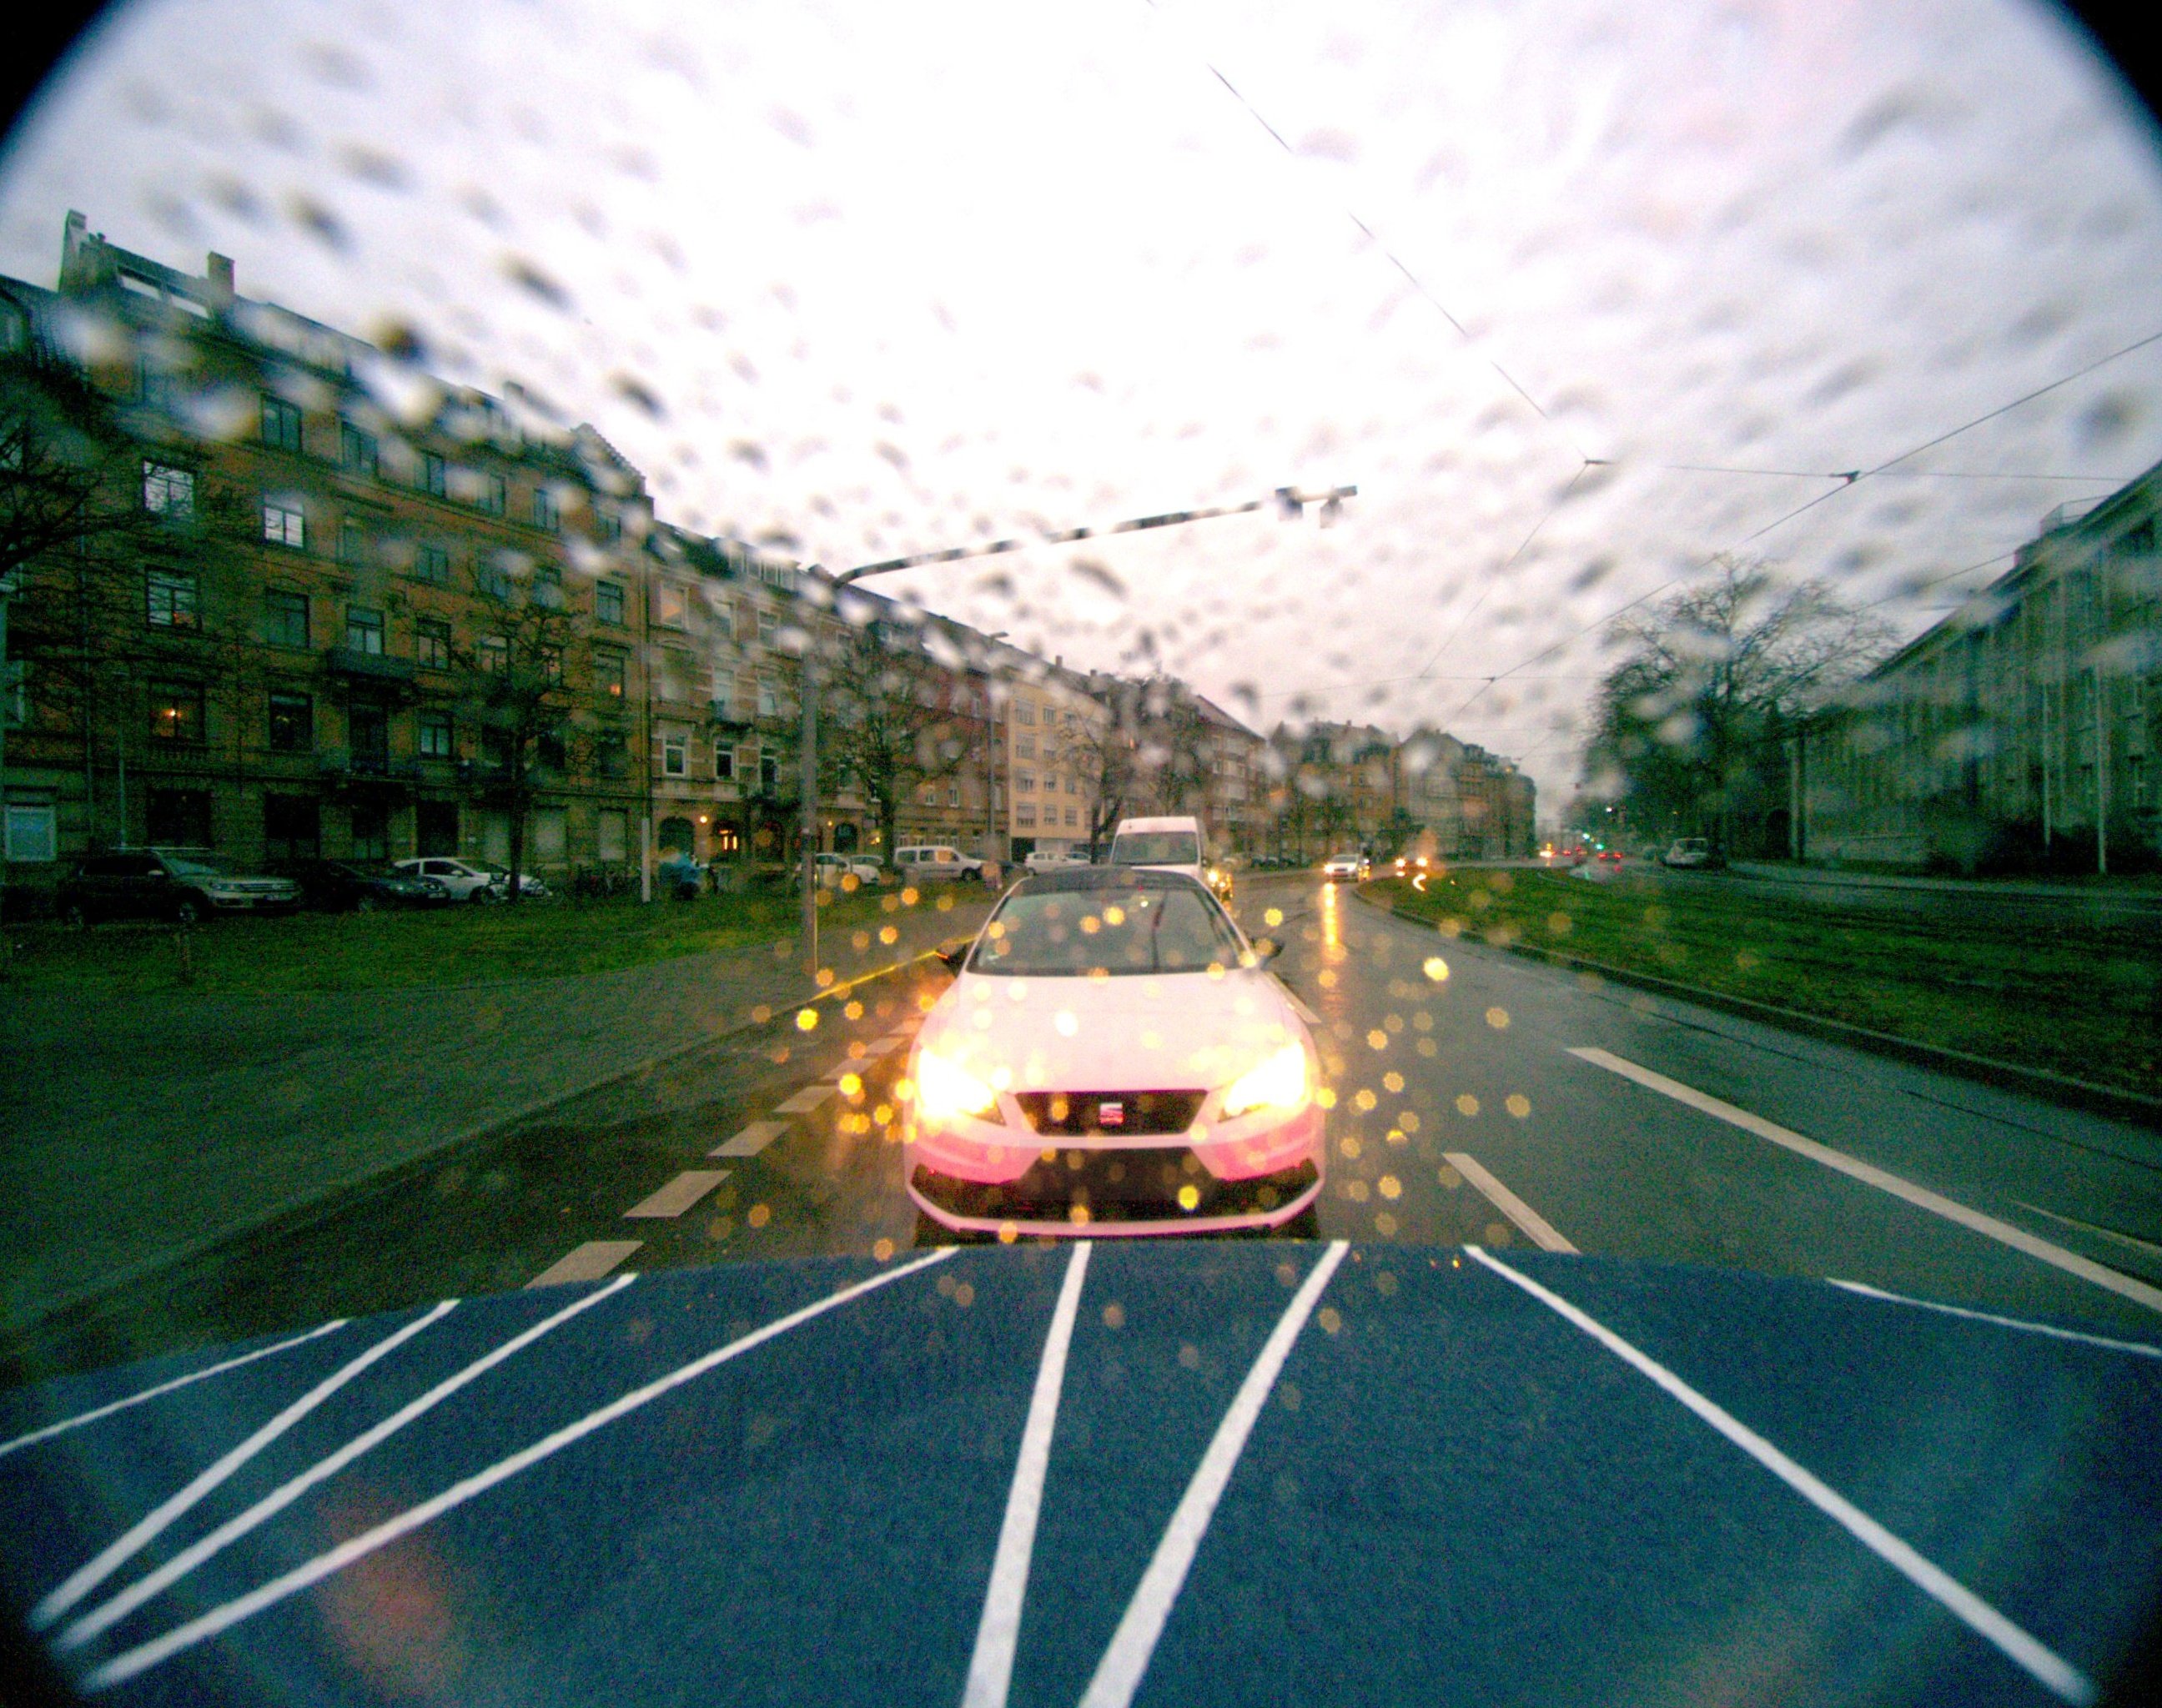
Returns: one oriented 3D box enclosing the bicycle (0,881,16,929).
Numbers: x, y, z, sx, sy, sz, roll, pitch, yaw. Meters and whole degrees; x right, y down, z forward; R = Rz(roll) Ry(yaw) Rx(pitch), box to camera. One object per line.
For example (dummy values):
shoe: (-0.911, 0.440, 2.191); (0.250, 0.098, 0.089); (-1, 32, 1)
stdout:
bicycle: (-22.185, 0.997, 15.109); (1.792, 0.926, 0.446); (1, 1, 10)

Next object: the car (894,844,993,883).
car: (-6.531, 0.442, 36.460); (4.341, 1.757, 1.782); (-1, 0, 4)

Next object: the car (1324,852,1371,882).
car: (14.023, 0.673, 39.837); (1.686, 1.422, 3.353); (-1, 0, 30)

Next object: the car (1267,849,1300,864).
car: (20.394, 0.215, 76.474); (3.181, 1.474, 1.383); (-1, 0, 14)

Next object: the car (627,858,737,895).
car: (-14.755, 0.834, 28.200); (3.297, 1.298, 1.522); (-1, 0, 5)

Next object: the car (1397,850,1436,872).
car: (24.470, 0.457, 55.304); (1.836, 1.524, 3.824); (-1, 0, 36)

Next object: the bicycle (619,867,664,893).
bicycle: (-15.393, 0.900, 26.605); (1.791, 0.813, 0.395); (1, 1, 25)

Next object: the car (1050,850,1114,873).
car: (0.069, 0.447, 45.885); (3.609, 1.362, 1.619); (-1, 0, 9)

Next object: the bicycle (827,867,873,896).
bicycle: (-7.924, 0.922, 25.984); (1.790, 0.926, 0.447); (2, 1, 33)

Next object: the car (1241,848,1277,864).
car: (16.216, 0.216, 69.129); (3.181, 1.405, 1.383); (-1, 0, 14)

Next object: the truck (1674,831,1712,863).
truck: (40.996, -0.465, 50.965); (1.833, 2.032, 4.008); (0, 0, 37)

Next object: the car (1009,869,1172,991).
car: (0.323, 0.984, 11.289); (1.722, 1.380, 3.825); (-1, 0, 11)

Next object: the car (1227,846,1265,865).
car: (14.507, 0.090, 66.693); (3.181, 1.615, 1.447); (-1, 0, 13)

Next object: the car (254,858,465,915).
car: (-17.819, 0.776, 18.873); (3.684, 1.298, 1.742); (-1, 0, 4)

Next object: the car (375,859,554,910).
car: (-17.050, 0.824, 21.108); (3.684, 1.298, 1.669); (-1, 0, 4)

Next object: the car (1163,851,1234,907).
car: (4.032, 0.778, 25.550); (1.874, 1.679, 4.175); (-1, 0, 15)

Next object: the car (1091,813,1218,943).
car: (1.891, 0.454, 17.264); (2.239, 2.448, 5.674); (-1, 0, 12)

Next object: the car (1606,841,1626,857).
car: (56.055, -0.552, 79.625); (1.686, 1.630, 3.654); (-1, 0, 34)

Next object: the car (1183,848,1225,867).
car: (9.681, 0.300, 59.767); (3.181, 1.420, 1.429); (-1, 0, 13)

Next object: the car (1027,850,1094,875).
car: (-1.163, 0.465, 43.616); (3.609, 1.362, 1.619); (-1, 0, 9)

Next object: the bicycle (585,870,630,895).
bicycle: (-15.914, 0.948, 25.512); (1.790, 0.773, 0.447); (1, 1, 28)

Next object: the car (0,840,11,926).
car: (-29.183, 0.757, 17.779); (1.994, 2.176, 4.670); (-1, 0, 33)

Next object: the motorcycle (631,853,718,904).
motorcycle: (-12.076, 0.703, 22.565); (2.352, 1.338, 0.886); (2, 2, 19)

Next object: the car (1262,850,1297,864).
car: (18.870, 0.324, 72.146); (3.181, 1.276, 1.383); (-1, 0, 14)

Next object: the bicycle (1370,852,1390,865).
bicycle: (40.316, 0.561, 102.464); (2.446, 1.697, 0.847); (-2, 1, 30)

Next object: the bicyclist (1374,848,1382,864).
bicyclist: (40.096, 0.277, 102.618); (0.777, 2.002, 0.831); (-1, 1, 31)

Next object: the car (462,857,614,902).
car: (-16.785, 0.772, 23.567); (3.684, 1.298, 1.521); (-1, 0, 4)

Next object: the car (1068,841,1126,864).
car: (1.033, -0.095, 48.381); (3.611, 1.362, 1.618); (-1, 0, 3)

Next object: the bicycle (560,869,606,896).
bicycle: (-16.414, 0.921, 25.028); (1.790, 0.790, 0.447); (1, 1, 28)

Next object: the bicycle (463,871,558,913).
bicycle: (-14.581, 0.945, 19.479); (1.911, 1.013, 0.535); (0, 1, -36)

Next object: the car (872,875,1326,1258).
car: (0.131, 0.933, 5.198); (1.787, 1.370, 4.223); (-2, 0, 2)

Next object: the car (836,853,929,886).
car: (-8.869, 0.680, 34.113); (3.684, 1.428, 1.522); (-1, 0, 5)

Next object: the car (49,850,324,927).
car: (-19.548, 0.722, 16.717); (4.152, 1.560, 1.742); (-1, 0, 4)

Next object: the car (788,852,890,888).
car: (-10.035, 0.656, 31.624); (3.684, 1.391, 1.522); (-1, 0, 5)

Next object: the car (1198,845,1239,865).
car: (11.258, 0.062, 62.099); (3.181, 1.615, 1.429); (-1, 0, 13)

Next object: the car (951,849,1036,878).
car: (-4.420, 0.482, 38.707); (3.958, 1.436, 1.703); (-1, 0, 10)
